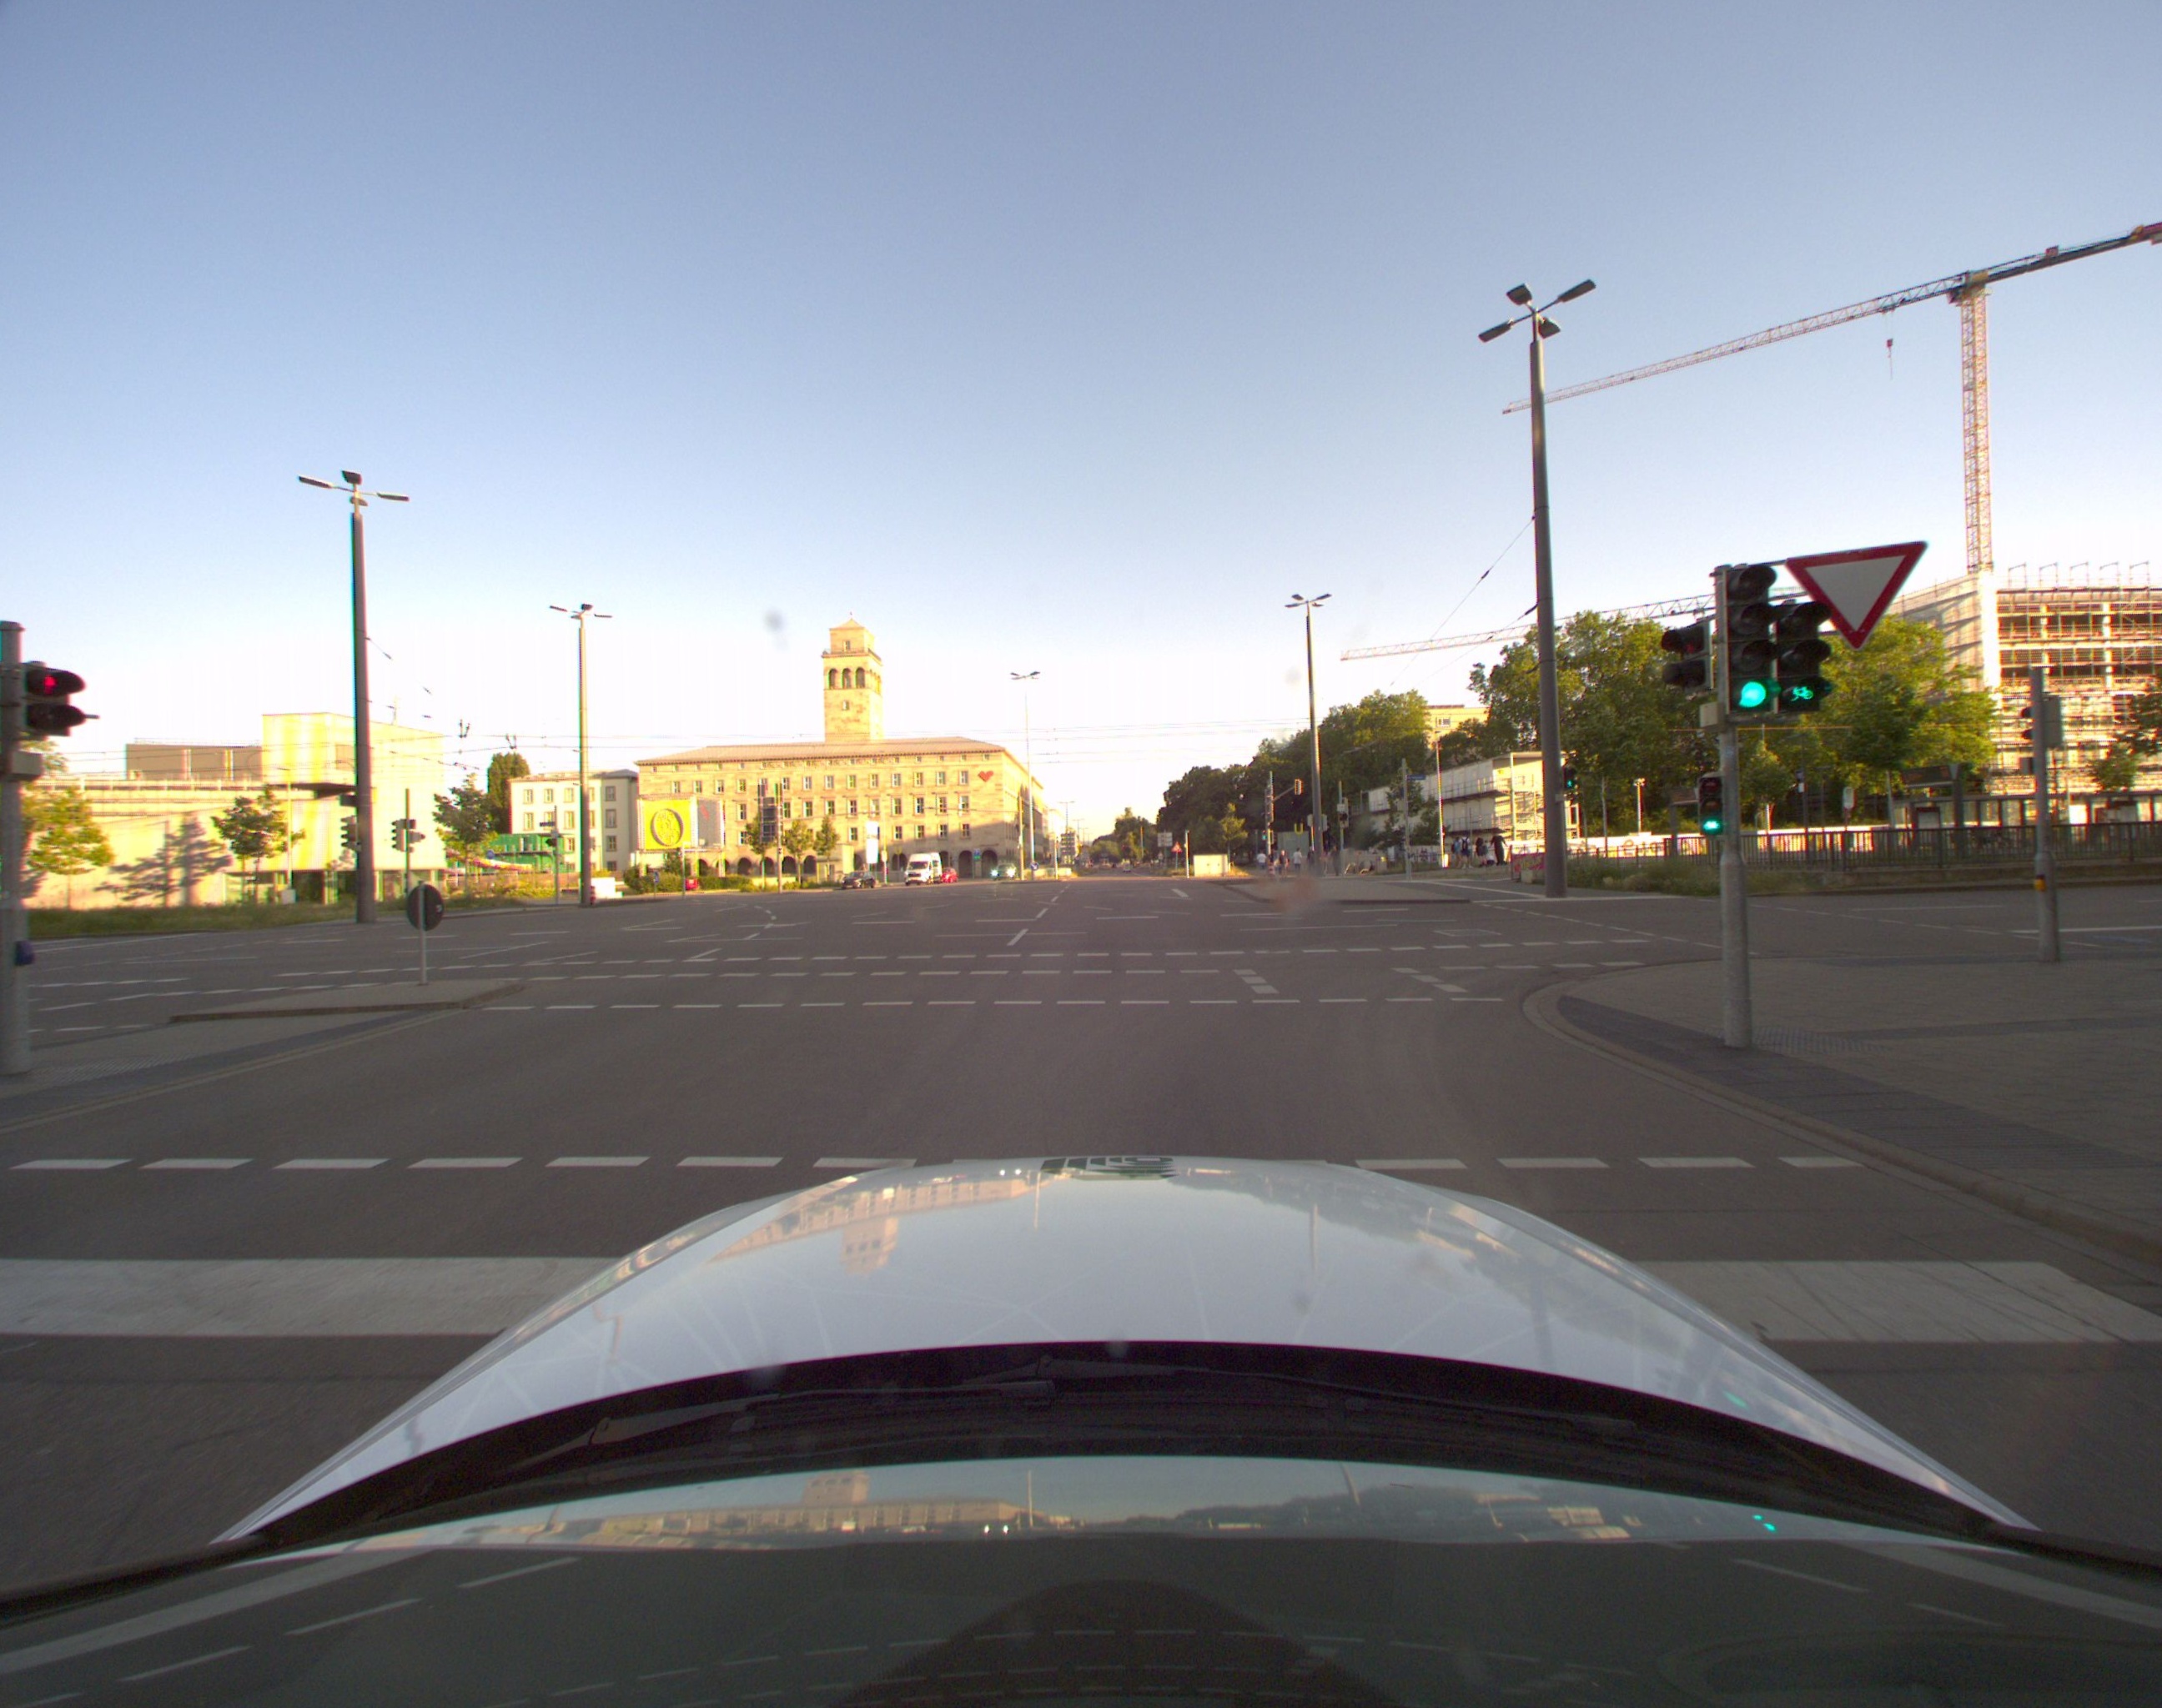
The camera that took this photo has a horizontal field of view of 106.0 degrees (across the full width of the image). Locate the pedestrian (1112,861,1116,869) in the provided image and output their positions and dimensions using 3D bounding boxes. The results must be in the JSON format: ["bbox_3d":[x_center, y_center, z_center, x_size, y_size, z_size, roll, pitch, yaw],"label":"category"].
[{"bbox_3d":[7.812,2.597,190.917,0.903,1.671,1.307,-2,0,1],"label":"pedestrian"}]

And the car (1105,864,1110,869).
[{"bbox_3d":[7.507,3.552,231.225,1.364,1.234,3.048,-2,0,4],"label":"car"}]

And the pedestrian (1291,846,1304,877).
[{"bbox_3d":[12.617,0.428,47.500,0.706,1.725,0.918,-2,0,14],"label":"pedestrian"}]

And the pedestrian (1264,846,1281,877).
[{"bbox_3d":[10.864,0.397,46.303,0.708,1.725,0.915,-2,0,0],"label":"pedestrian"}]

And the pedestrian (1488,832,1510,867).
[{"bbox_3d":[21.191,-0.214,41.290,0.708,1.725,0.668,-2,-1,0],"label":"pedestrian"}]

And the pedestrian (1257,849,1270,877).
[{"bbox_3d":[11.389,0.534,50.922,0.705,1.725,0.671,-2,0,15],"label":"pedestrian"}]

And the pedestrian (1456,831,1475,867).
[{"bbox_3d":[18.768,-0.229,39.733,0.705,1.725,0.671,-2,-1,16],"label":"pedestrian"}]

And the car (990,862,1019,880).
[{"bbox_3d":[-6.425,1.427,68.957,1.815,1.342,4.004,-2,0,4],"label":"car"}]

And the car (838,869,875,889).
[{"bbox_3d":[-18.503,2.075,67.169,1.817,1.466,4.158,-2,0,0],"label":"car"}]

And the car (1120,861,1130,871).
[{"bbox_3d":[7.560,2.083,140.843,1.478,1.696,2.973,-2,-1,0],"label":"car"}]

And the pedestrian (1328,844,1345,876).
[{"bbox_3d":[14.510,0.327,46.236,0.799,1.791,0.803,-2,0,14],"label":"pedestrian"}]

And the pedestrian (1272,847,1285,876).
[{"bbox_3d":[12.287,0.456,50.634,0.705,1.725,0.671,-2,0,19],"label":"pedestrian"}]

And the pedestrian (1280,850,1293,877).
[{"bbox_3d":[13.923,0.643,55.275,0.673,1.757,0.907,-2,0,22],"label":"pedestrian"}]

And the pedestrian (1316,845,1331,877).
[{"bbox_3d":[13.433,0.394,45.132,0.697,1.734,0.851,-2,0,18],"label":"pedestrian"}]

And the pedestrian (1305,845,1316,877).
[{"bbox_3d":[13.165,0.395,46.686,0.568,1.791,0.641,-2,0,16],"label":"pedestrian"}]

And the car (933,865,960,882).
[{"bbox_3d":[-12.878,1.831,78.128,1.732,1.487,4.001,-2,0,1],"label":"car"}]

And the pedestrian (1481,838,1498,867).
[{"bbox_3d":[20.204,-0.070,40.267,0.670,1.441,0.718,-2,-1,24],"label":"pedestrian"}]

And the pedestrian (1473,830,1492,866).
[{"bbox_3d":[19.542,-0.305,39.616,0.705,1.725,0.671,-2,-1,19],"label":"pedestrian"}]

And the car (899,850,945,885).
[{"bbox_3d":[-13.452,1.132,69.294,2.269,2.776,6.089,-2,-1,4],"label":"car"}]

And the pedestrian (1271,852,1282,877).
[{"bbox_3d":[13.333,0.697,55.518,0.555,1.655,0.907,-2,0,22],"label":"pedestrian"}]

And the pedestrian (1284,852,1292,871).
[{"bbox_3d":[21.086,0.750,83.045,0.662,1.842,0.714,-2,0,7],"label":"pedestrian"}]

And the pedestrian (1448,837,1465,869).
[{"bbox_3d":[18.840,-0.038,40.875,0.569,1.592,0.537,-2,-1,2],"label":"pedestrian"}]

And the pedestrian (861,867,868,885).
[{"bbox_3d":[-20.997,2.144,78.995,0.620,1.744,0.459,0,-2,-4],"label":"pedestrian"}]
